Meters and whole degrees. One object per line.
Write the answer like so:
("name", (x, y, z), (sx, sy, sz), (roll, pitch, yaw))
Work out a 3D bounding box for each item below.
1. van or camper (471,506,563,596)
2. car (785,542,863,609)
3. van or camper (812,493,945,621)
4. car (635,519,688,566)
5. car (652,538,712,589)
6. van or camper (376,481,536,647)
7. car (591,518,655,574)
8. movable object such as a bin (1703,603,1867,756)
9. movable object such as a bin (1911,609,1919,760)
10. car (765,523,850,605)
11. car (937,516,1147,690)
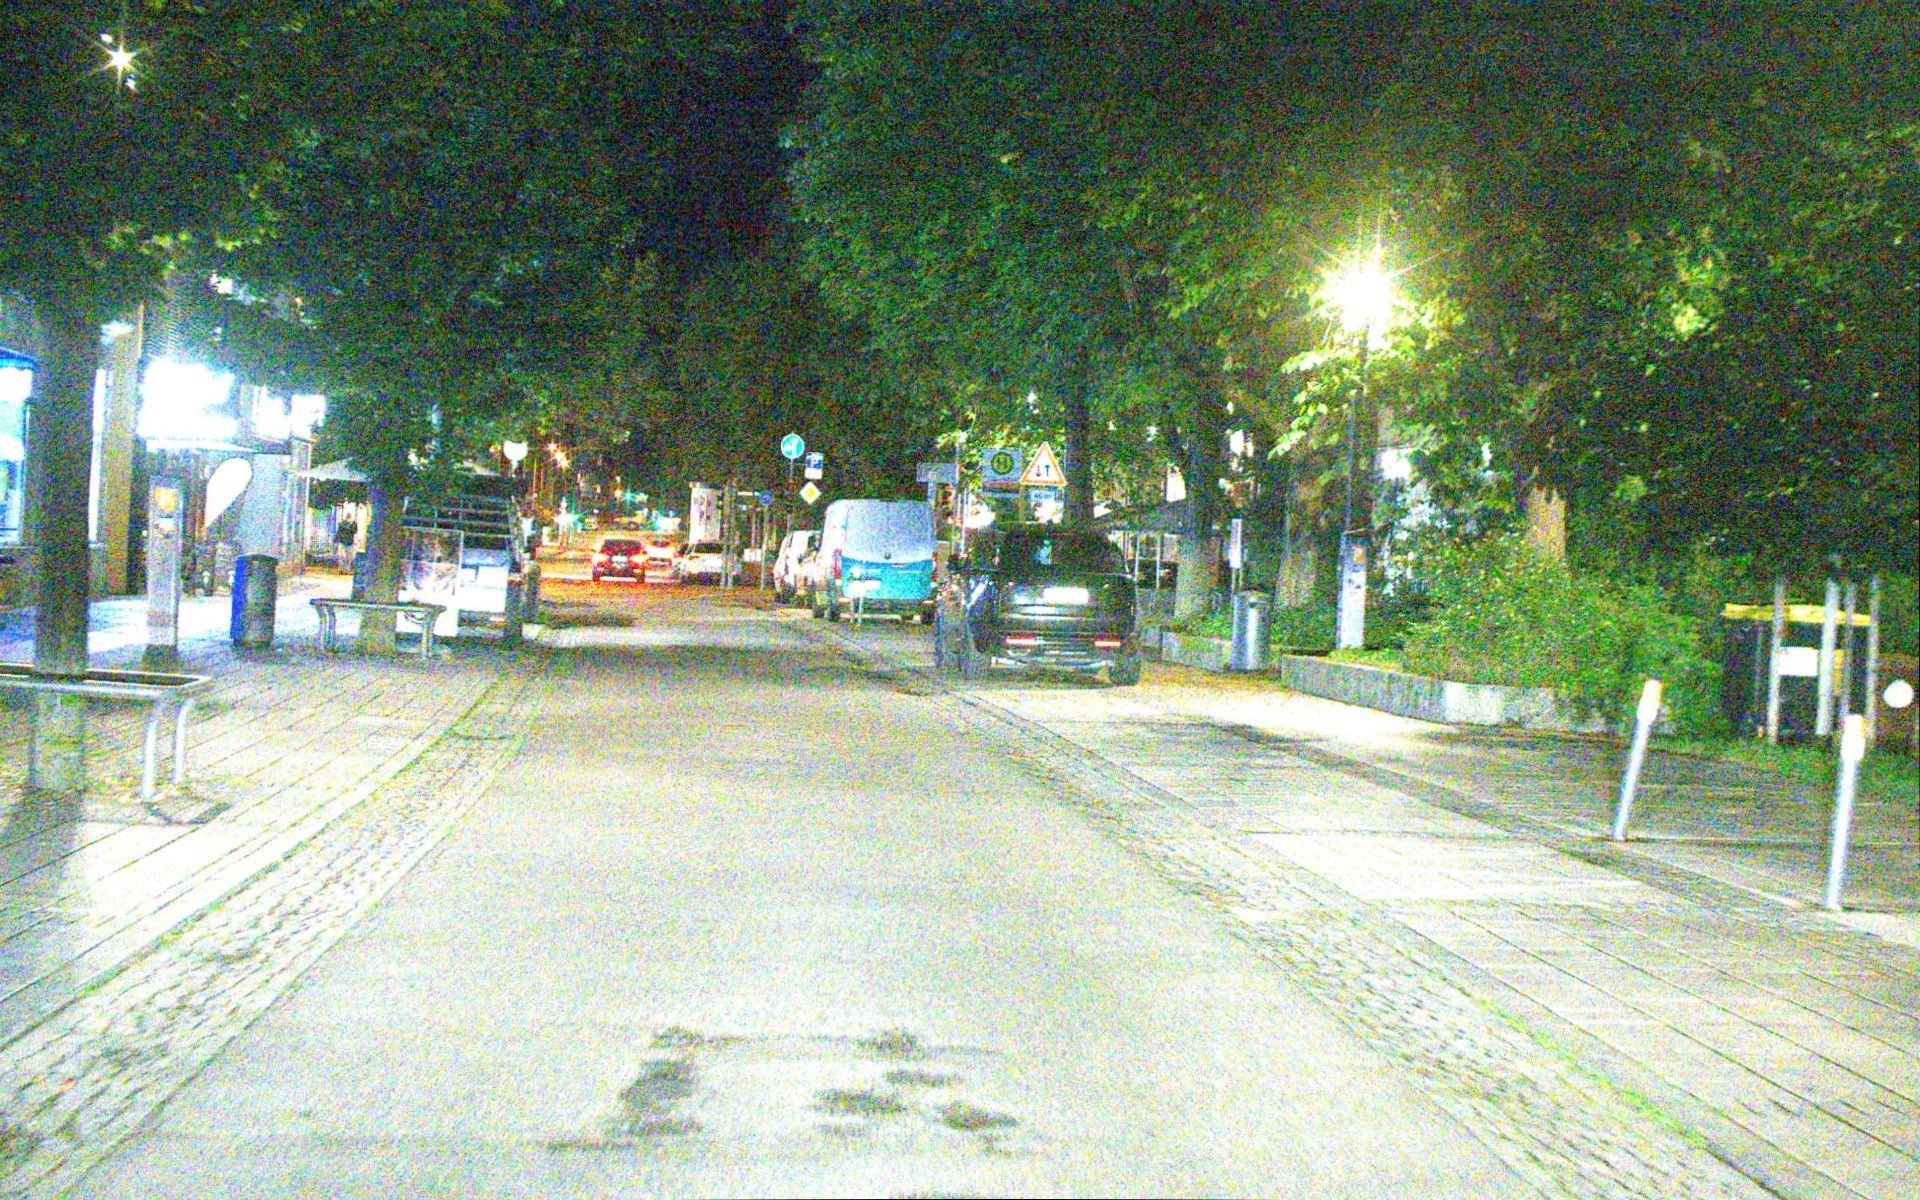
("van or camper", (-10.469, -1.157, 81.062), (1.935, 1.982, 3.846), (3, 1, -9))
("car", (-3.128, -0.576, 78.577), (1.531, 1.413, 3.846), (3, 1, -5))
("van or camper", (-1.594, -0.827, 65.658), (2.108, 2.309, 4.263), (1, 1, -7))
("car", (-12.453, -2.397, 143.341), (1.993, 1.817, 4.001), (3, 1, -7))
("car", (-9.043, -1.197, 111.673), (1.839, 1.537, 3.846), (3, 1, -5))
("van or camper", (-6.750, -0.498, 46.419), (1.866, 2.004, 4.263), (4, 1, -7))
("car", (-11.795, -1.901, 120.118), (1.993, 1.817, 4.001), (3, 1, -8))
("movable object such as a bin", (7.589, 0.725, 31.661), (1.104, 1.302, 1.010), (4, 0, -7))
("movable object such as a bin", (9.673, 0.814, 31.949), (1.261, 1.415, 1.118), (2, 0, -5))
("car", (-3.769, -0.896, 84.329), (1.839, 1.894, 3.846), (3, 1, -5))
("car", (0.883, 0.000, 39.773), (1.814, 1.822, 4.348), (2, 1, -6))
